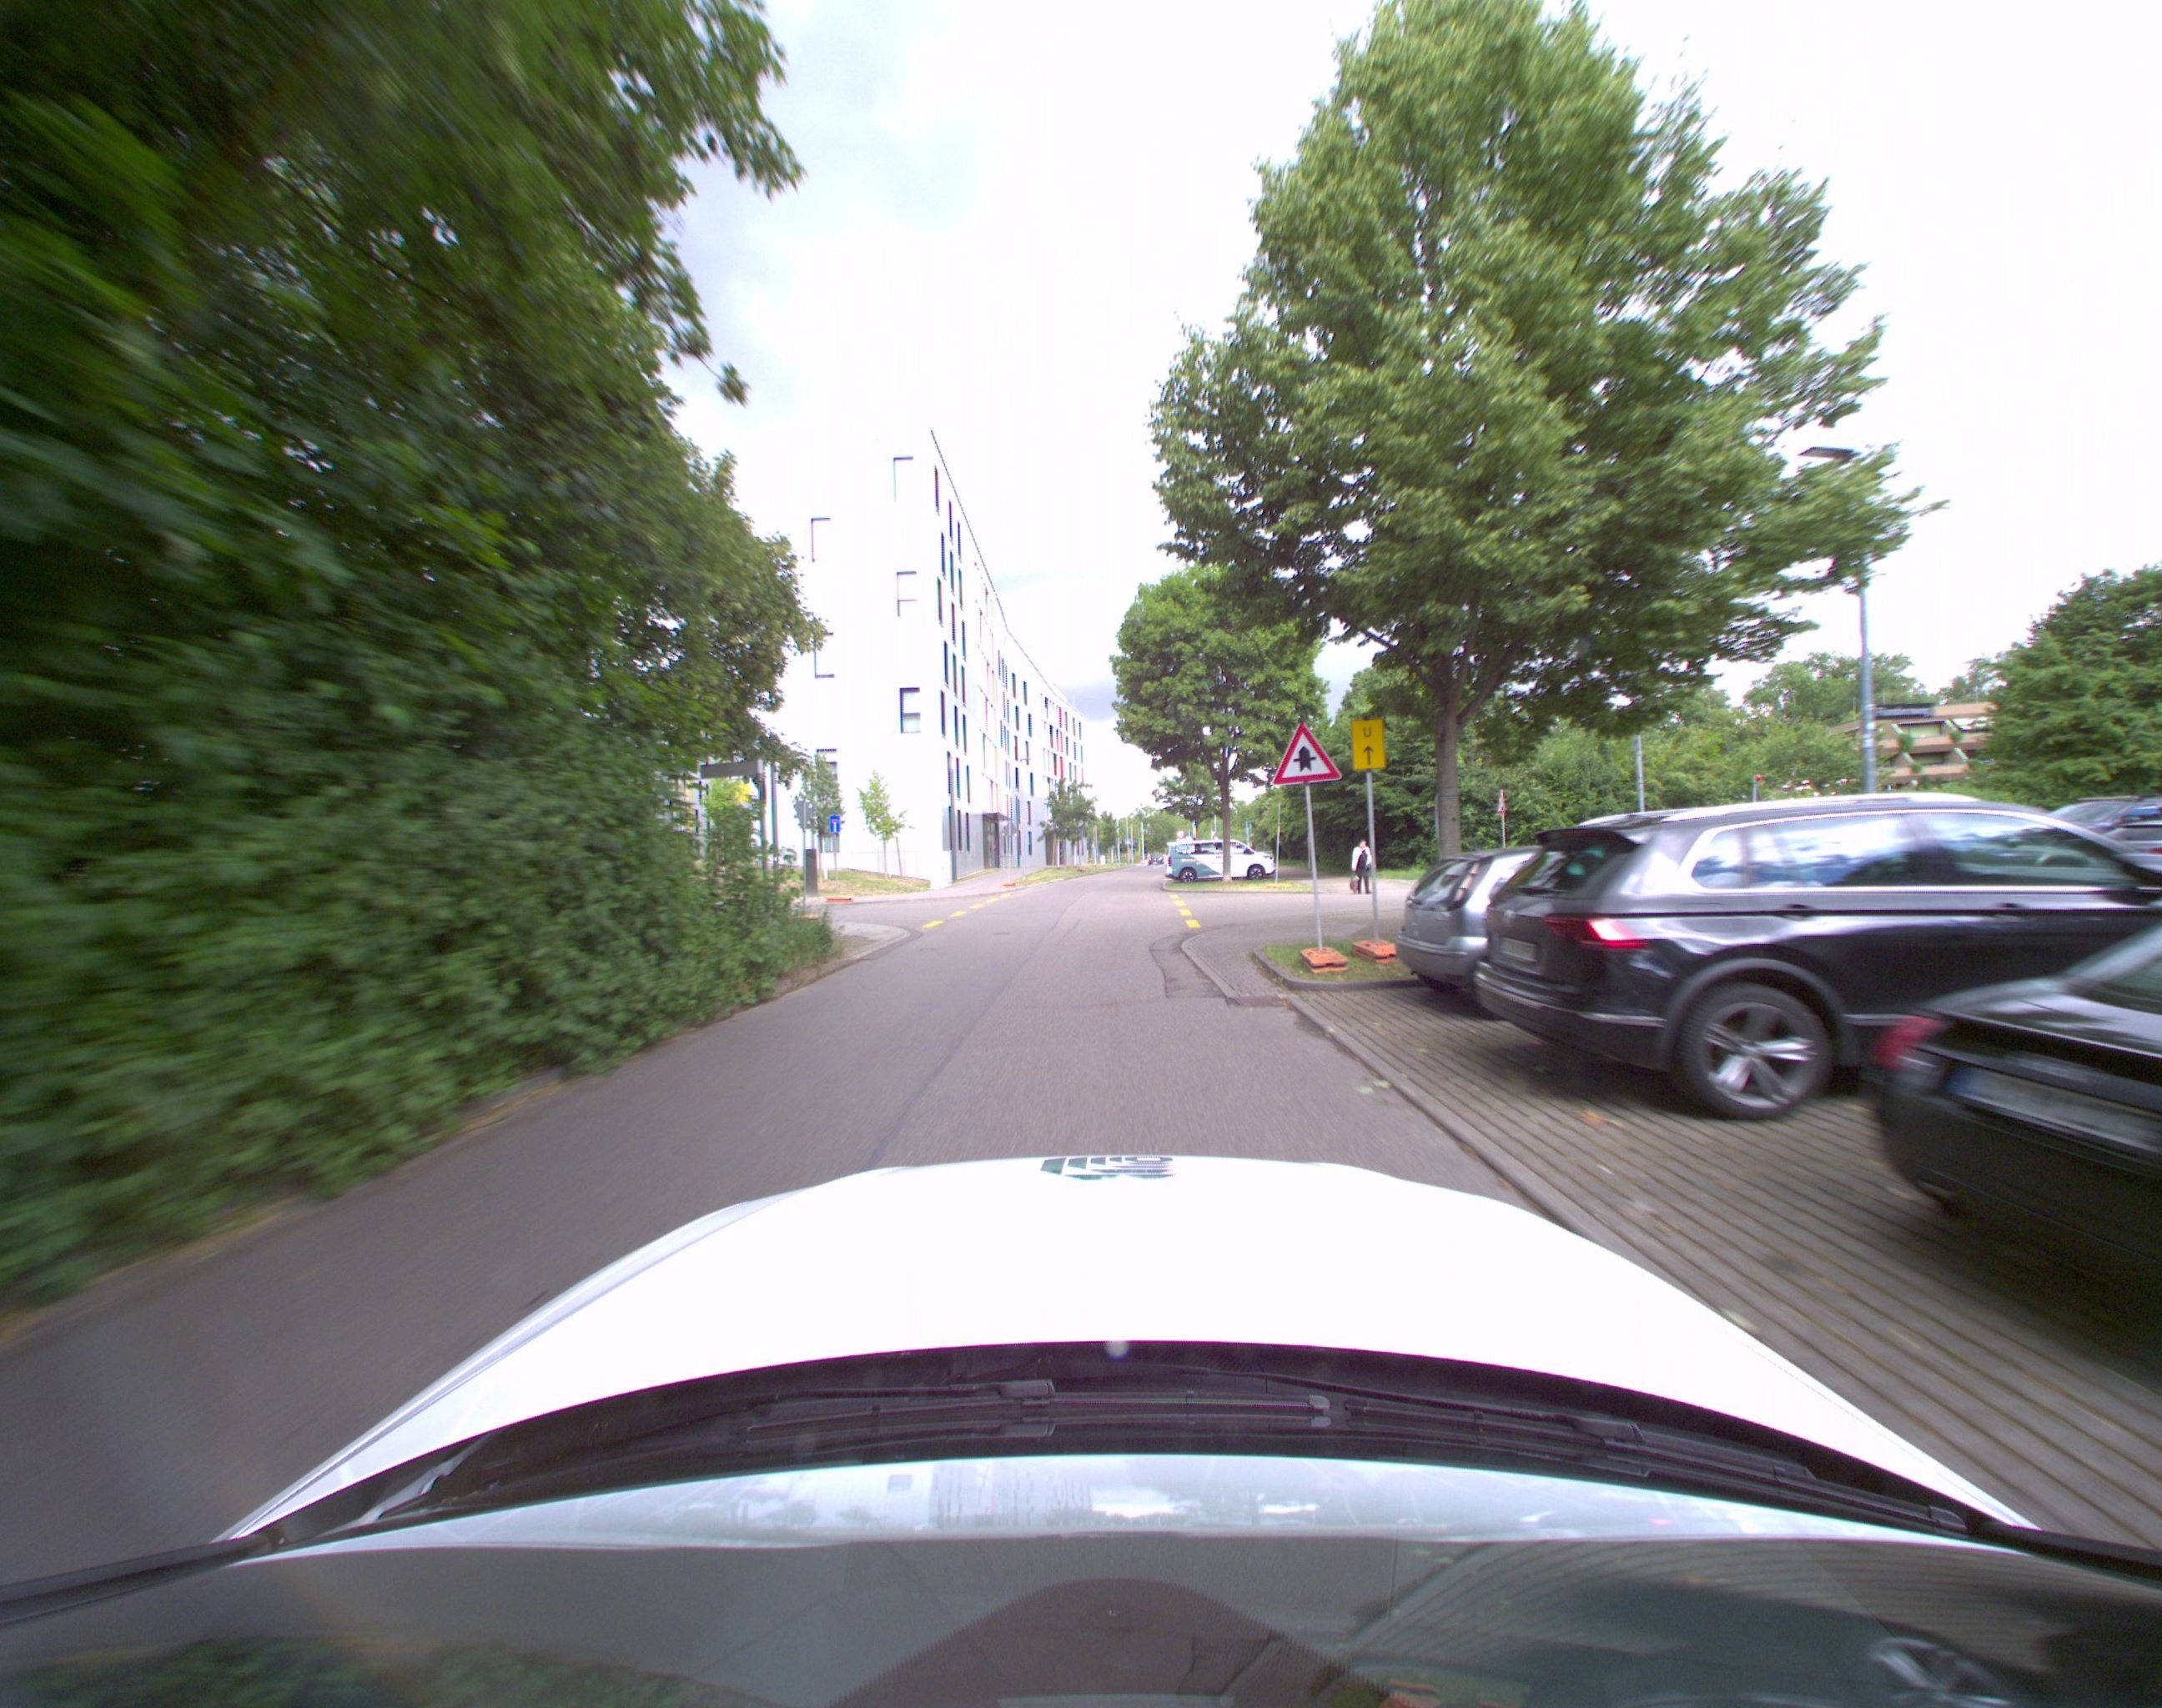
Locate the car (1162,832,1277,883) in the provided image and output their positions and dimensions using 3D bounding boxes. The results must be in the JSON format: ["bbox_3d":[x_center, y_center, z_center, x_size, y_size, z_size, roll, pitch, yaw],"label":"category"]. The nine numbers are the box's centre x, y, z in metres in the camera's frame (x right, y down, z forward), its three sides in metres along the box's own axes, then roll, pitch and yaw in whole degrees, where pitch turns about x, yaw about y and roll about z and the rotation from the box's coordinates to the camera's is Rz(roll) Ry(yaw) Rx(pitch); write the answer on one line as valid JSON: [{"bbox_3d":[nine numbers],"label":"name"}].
[{"bbox_3d":[6.355,0.154,37.741,4.952,1.972,1.848,-3,0,2],"label":"car"}]

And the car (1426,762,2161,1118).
[{"bbox_3d":[4.617,0.425,5.030,4.104,1.650,1.983,-3,-1,5],"label":"car"}]

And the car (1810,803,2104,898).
[{"bbox_3d":[17.636,-0.056,16.588,3.757,1.668,1.772,-2,0,9],"label":"car"}]

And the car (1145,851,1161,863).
[{"bbox_3d":[8.690,0.365,97.659,1.599,1.388,4.011,-1,0,10],"label":"car"}]

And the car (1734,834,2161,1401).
[{"bbox_3d":[4.606,0.579,2.370,3.814,1.358,1.825,-3,-1,5],"label":"car"}]

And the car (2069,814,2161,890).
[{"bbox_3d":[22.487,-0.113,15.701,4.368,1.428,1.707,-2,0,7],"label":"car"}]

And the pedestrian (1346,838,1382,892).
[{"bbox_3d":[8.486,0.327,24.471,0.830,1.576,0.811,-2,0,7],"label":"pedestrian"}]

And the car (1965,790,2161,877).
[{"bbox_3d":[26.806,-0.537,20.979,5.289,2.056,2.142,-2,0,8],"label":"car"}]

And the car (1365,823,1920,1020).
[{"bbox_3d":[4.877,0.567,7.583,3.816,1.403,1.854,-3,-1,3],"label":"car"}]
